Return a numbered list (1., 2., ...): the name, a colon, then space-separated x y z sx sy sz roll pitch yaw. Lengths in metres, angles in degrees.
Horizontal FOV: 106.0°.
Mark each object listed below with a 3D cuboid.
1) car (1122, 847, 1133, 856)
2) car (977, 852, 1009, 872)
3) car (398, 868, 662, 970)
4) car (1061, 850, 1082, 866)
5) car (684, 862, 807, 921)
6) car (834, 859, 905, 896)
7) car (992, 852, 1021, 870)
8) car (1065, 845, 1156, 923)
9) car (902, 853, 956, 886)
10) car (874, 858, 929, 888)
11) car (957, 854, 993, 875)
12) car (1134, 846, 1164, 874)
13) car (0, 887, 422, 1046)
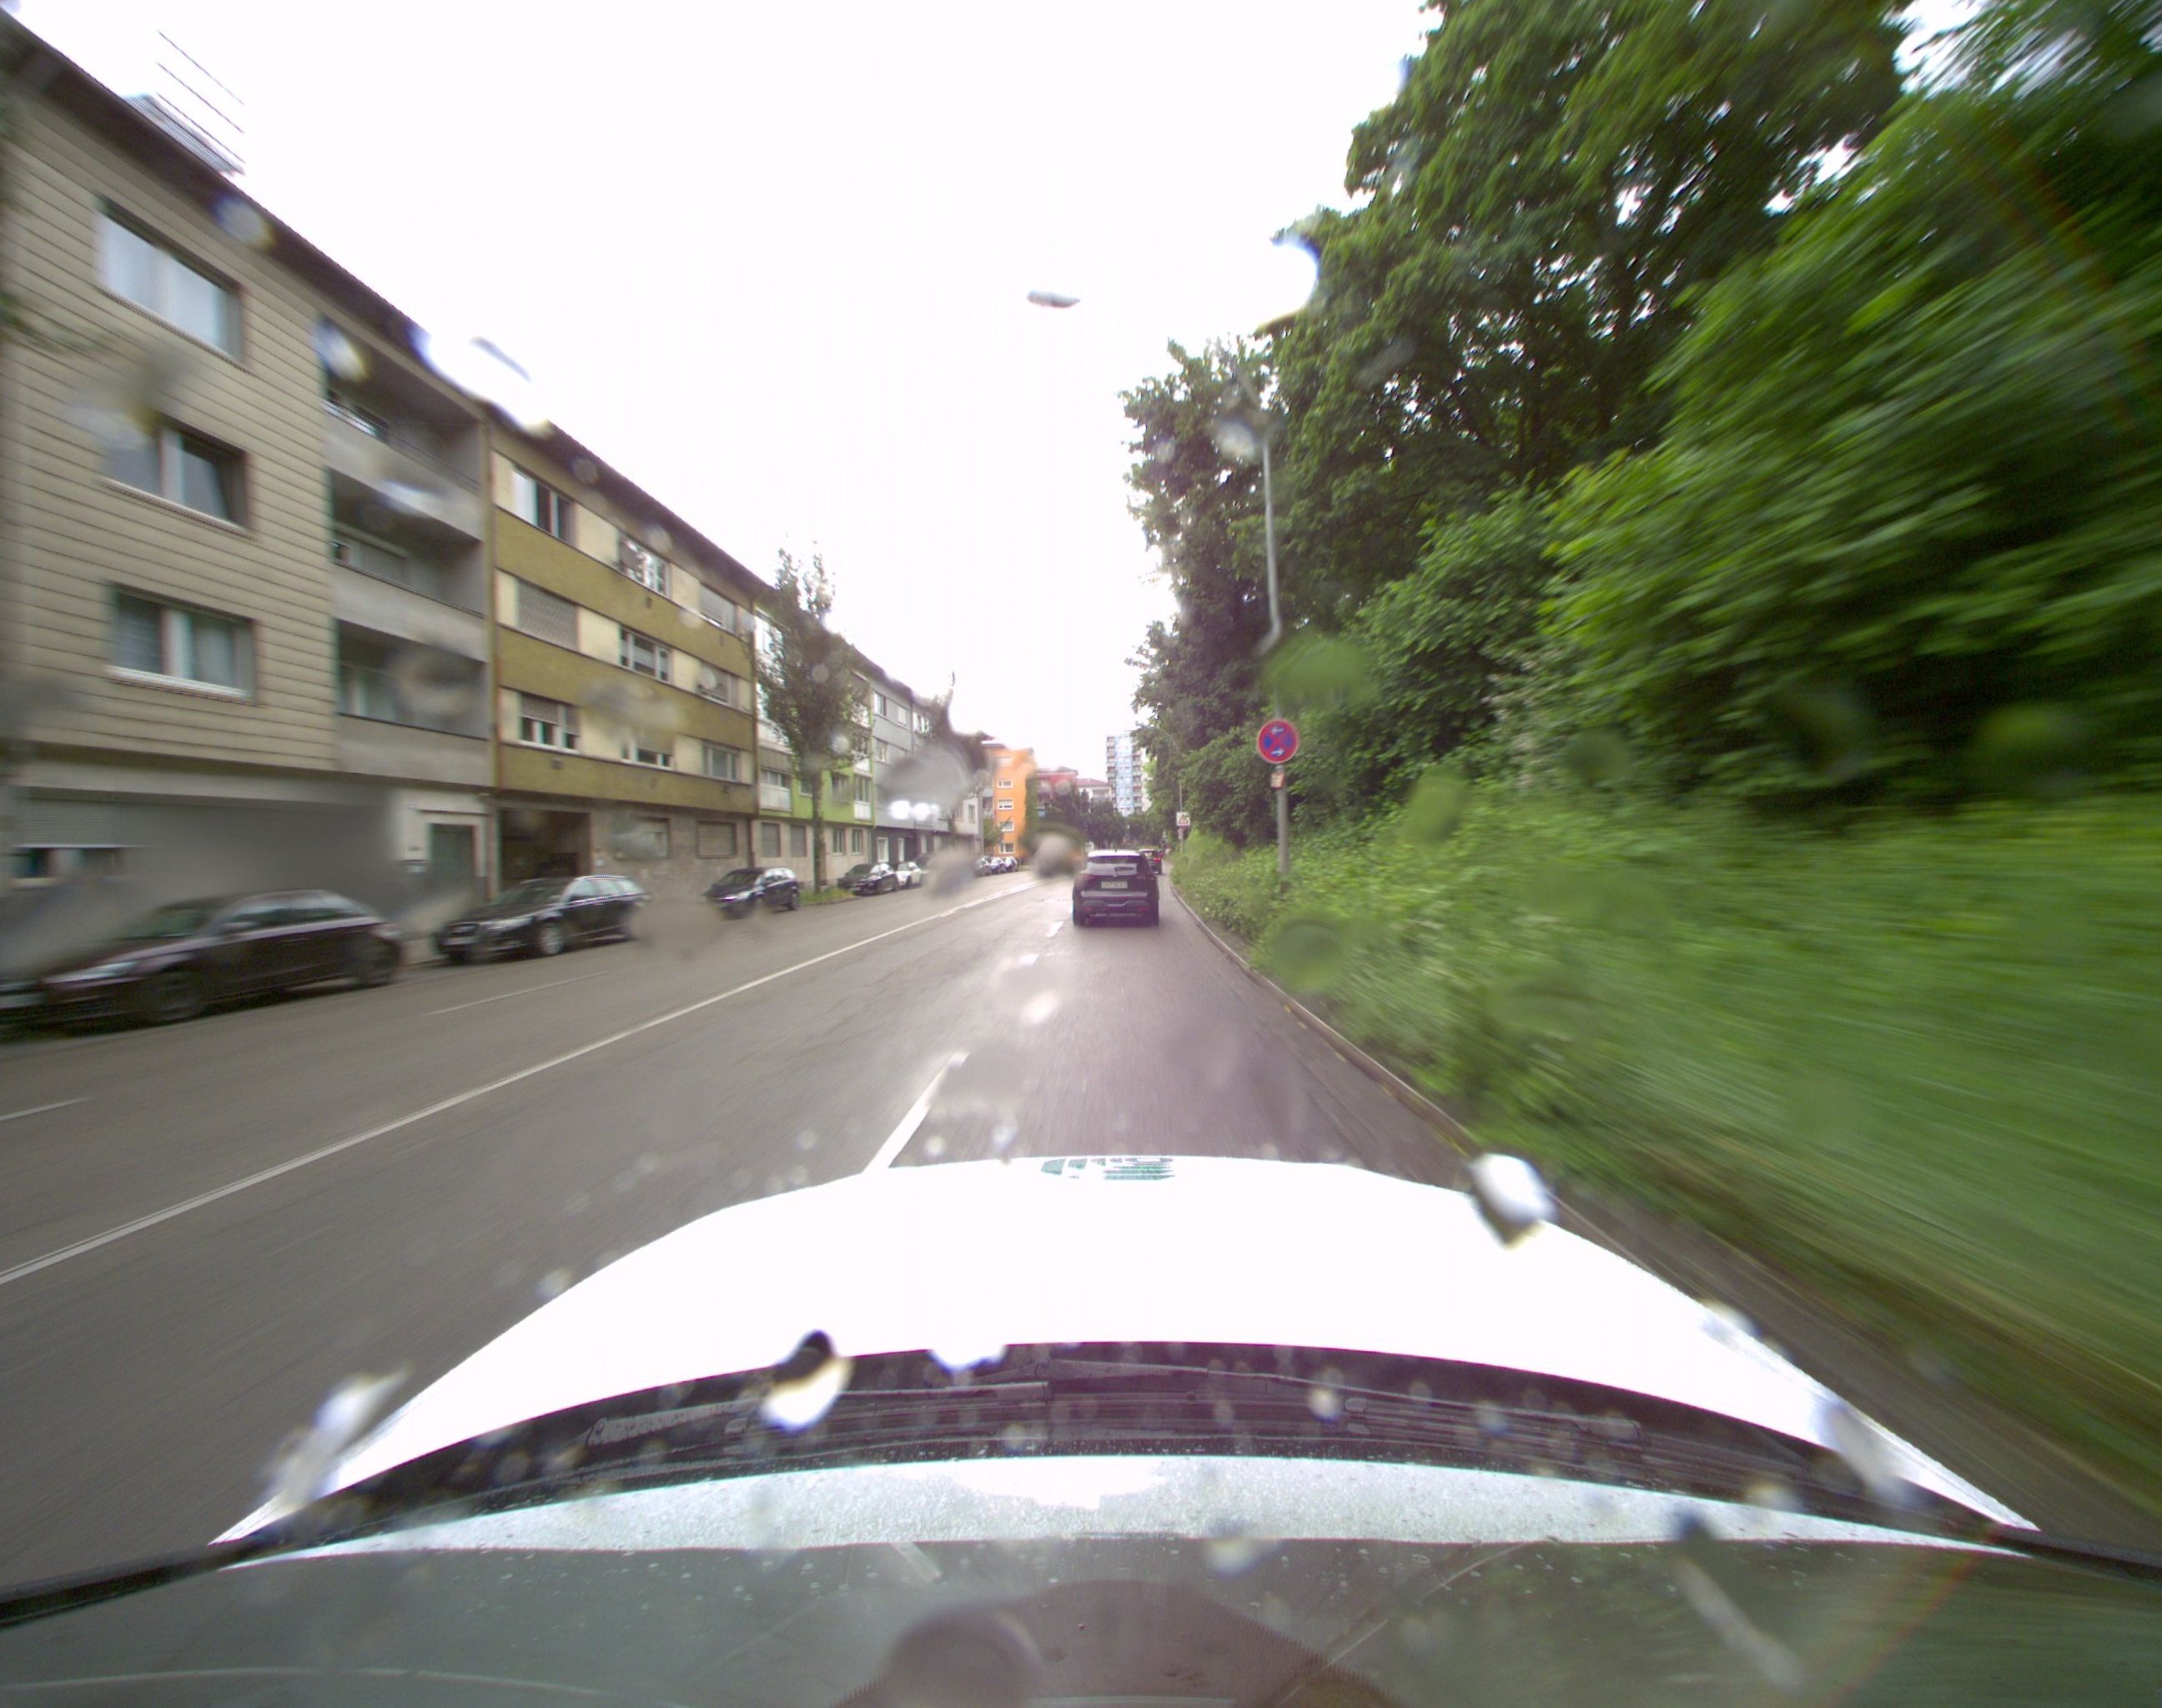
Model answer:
1. car: 8.659 -0.447 152.036 1.780 1.504 4.654 -3 0 4
2. car: -7.181 0.627 66.801 1.672 1.449 4.282 -5 0 5
3. car: -10.520 1.147 16.134 1.811 1.488 4.791 -4 0 1
4. car: -0.943 0.393 78.794 1.699 1.478 3.684 -3 0 3
5. car: -10.285 1.075 25.397 1.711 1.488 4.517 -4 0 2
6. car: -9.537 1.025 37.034 1.811 1.372 4.682 -4 0 1
7. car: -6.626 0.617 73.047 1.704 1.425 4.329 -4 0 5
8. car: 0.759 0.593 18.531 1.836 1.582 4.006 0 0 5
9. car: -8.921 0.877 48.195 1.882 1.766 4.606 -3 0 5
10. car: -9.346 0.952 42.648 1.673 1.376 4.004 -4 0 3
11. car: -7.927 0.751 61.226 1.681 1.358 4.585 -5 0 4
12. car: 4.562 0.376 54.108 1.878 1.711 4.006 -1 0 5
13. car: -10.826 1.240 10.262 1.619 1.387 3.991 -3 0 2
